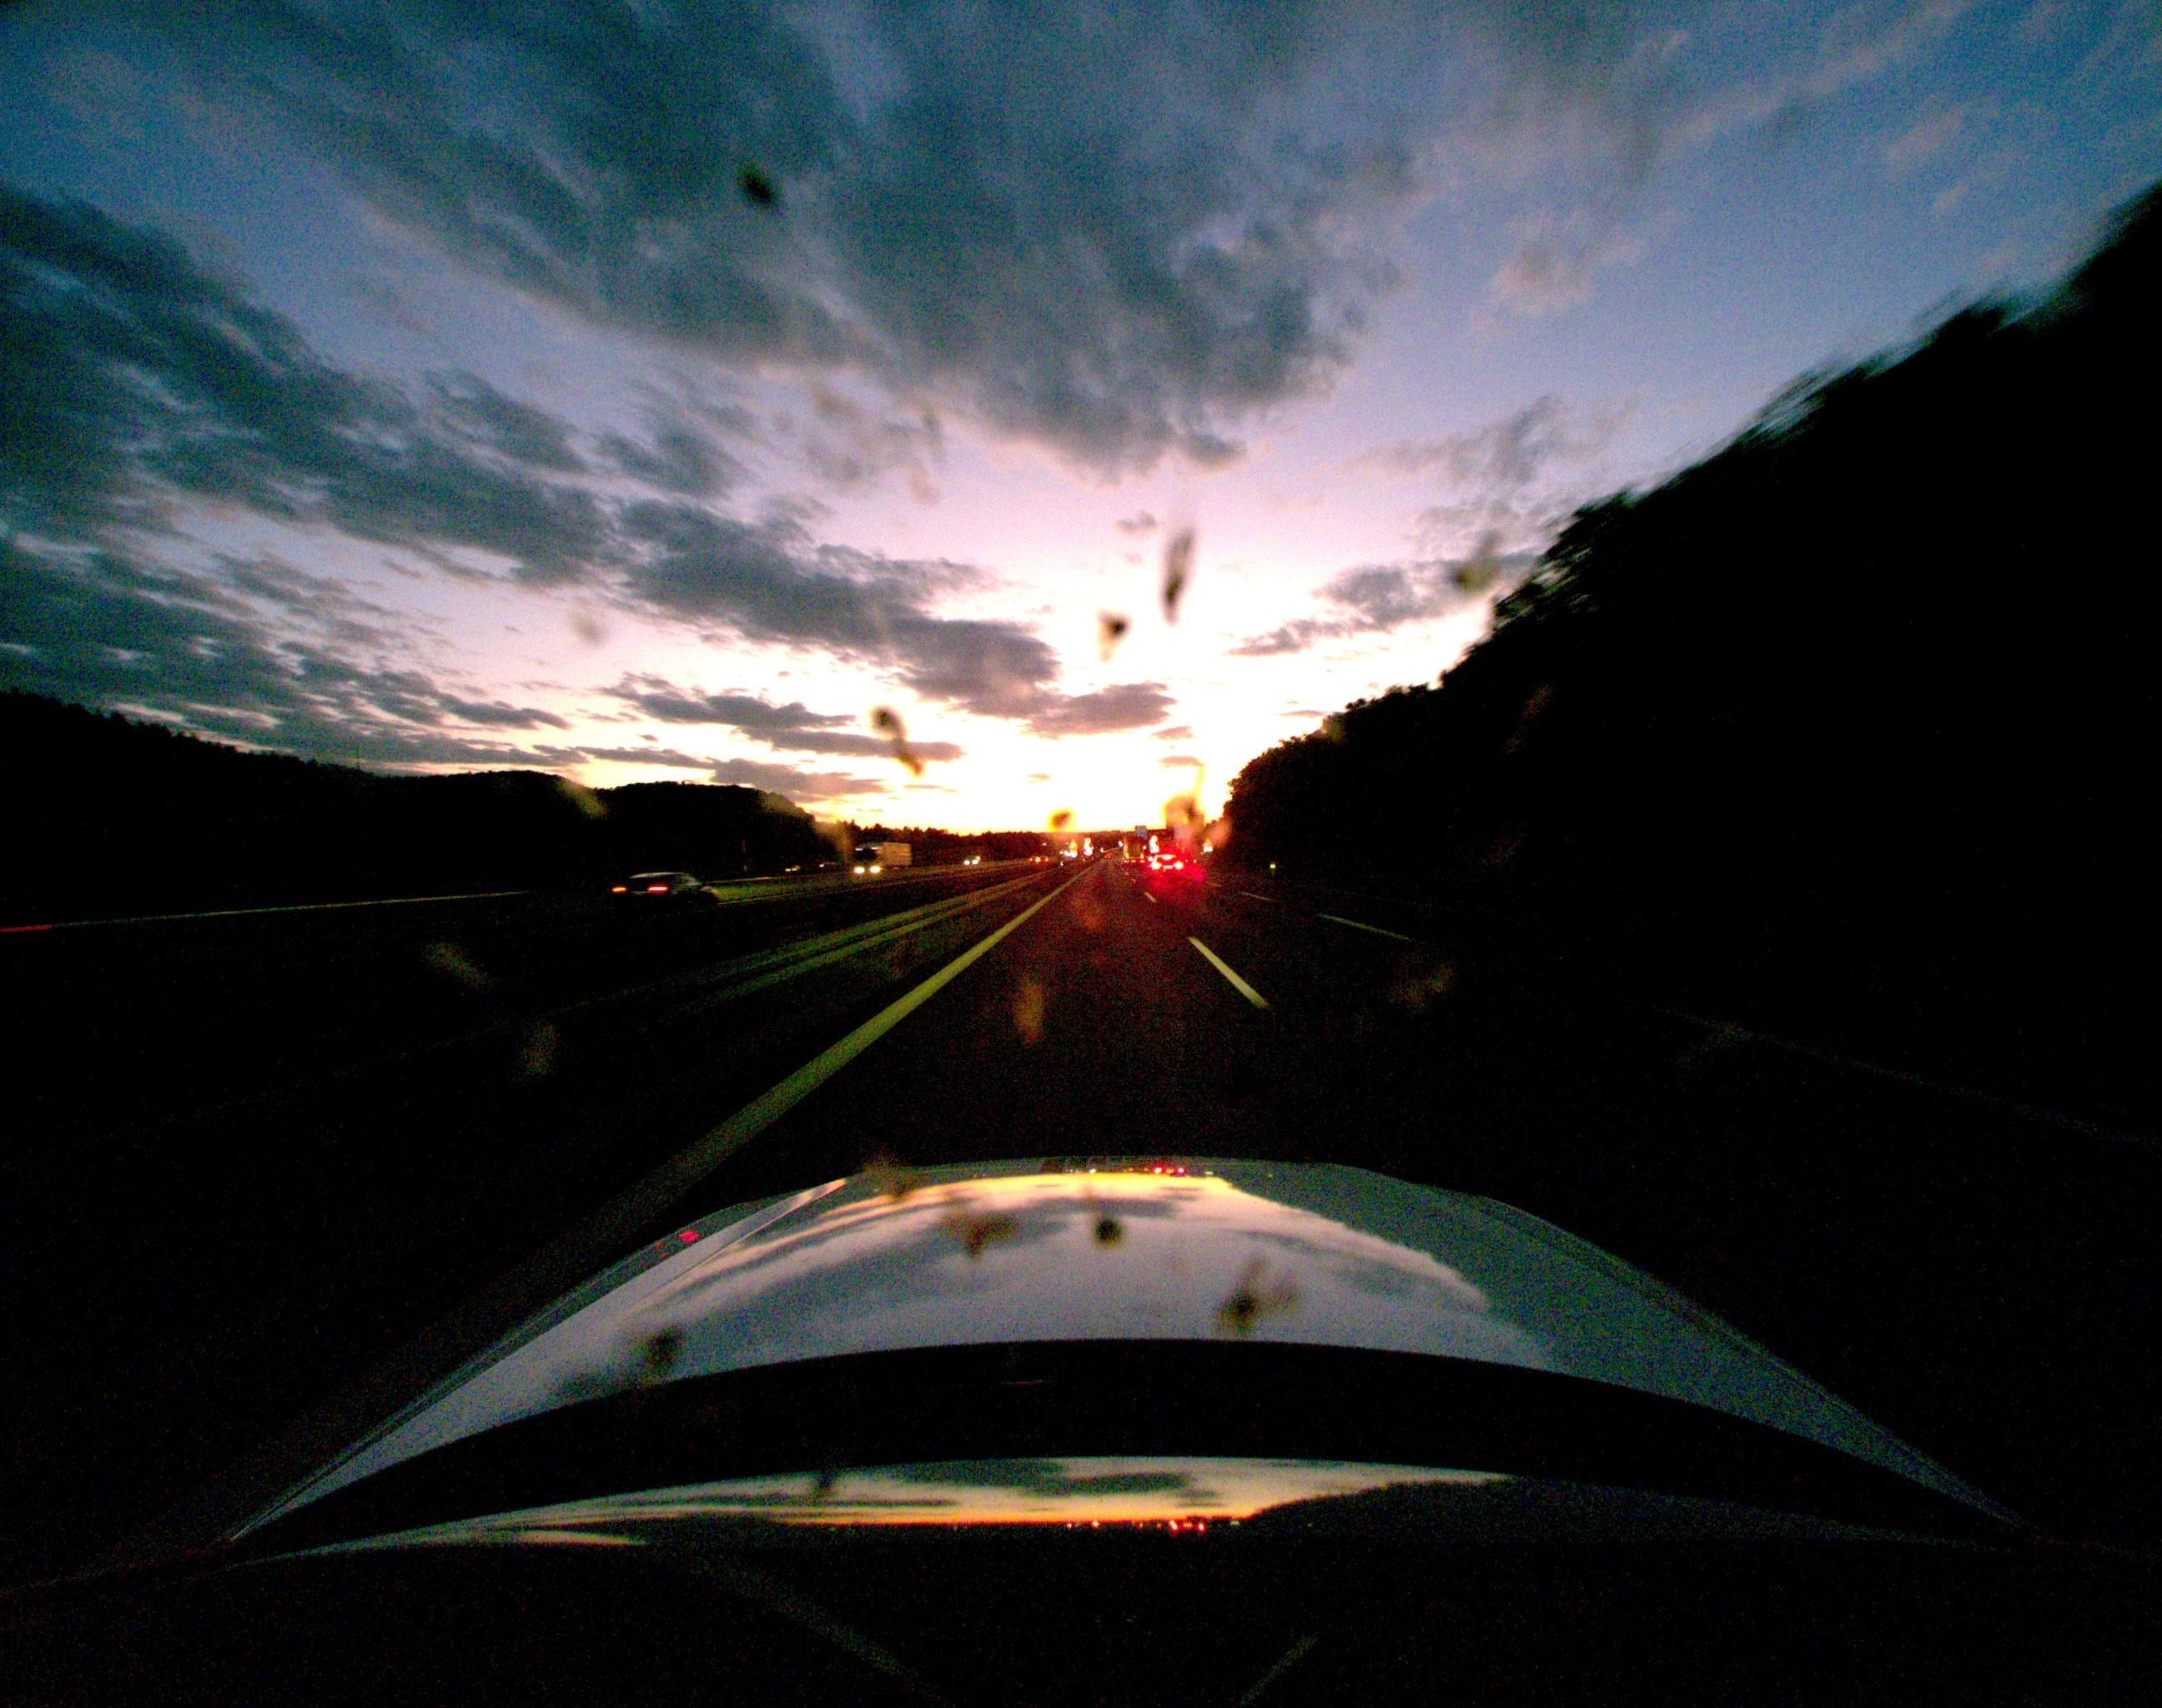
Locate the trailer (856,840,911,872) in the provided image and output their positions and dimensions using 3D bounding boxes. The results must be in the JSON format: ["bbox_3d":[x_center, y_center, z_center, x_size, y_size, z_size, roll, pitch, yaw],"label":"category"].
[{"bbox_3d":[-25.291,0.298,105.400,3.315,3.765,13.889,-3,0,1],"label":"trailer"}]

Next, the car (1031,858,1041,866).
[{"bbox_3d":[-9.349,1.672,167.941,1.631,1.546,3.397,-3,0,2],"label":"car"}]

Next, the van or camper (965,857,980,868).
[{"bbox_3d":[-19.728,1.478,148.089,1.884,1.907,5.540,-1,0,0],"label":"van or camper"}]

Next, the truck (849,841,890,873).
[{"bbox_3d":[-25.472,0.329,98.250,3.298,3.619,5.498,-3,-1,1],"label":"truck"}]

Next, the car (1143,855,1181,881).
[{"bbox_3d":[4.851,0.828,49.316,1.908,1.442,4.000,-3,0,0],"label":"car"}]

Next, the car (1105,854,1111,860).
[{"bbox_3d":[8.645,0.913,260.428,1.986,2.013,4.001,-3,0,2],"label":"car"}]

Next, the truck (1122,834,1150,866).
[{"bbox_3d":[7.852,-0.521,117.742,3.497,4.301,9.894,-3,0,1],"label":"truck"}]

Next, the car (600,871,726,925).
[{"bbox_3d":[-14.344,1.448,28.267,1.865,1.561,4.521,-3,0,2],"label":"car"}]

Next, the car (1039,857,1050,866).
[{"bbox_3d":[-6.651,1.394,149.763,1.706,1.605,3.723,-3,0,2],"label":"car"}]
